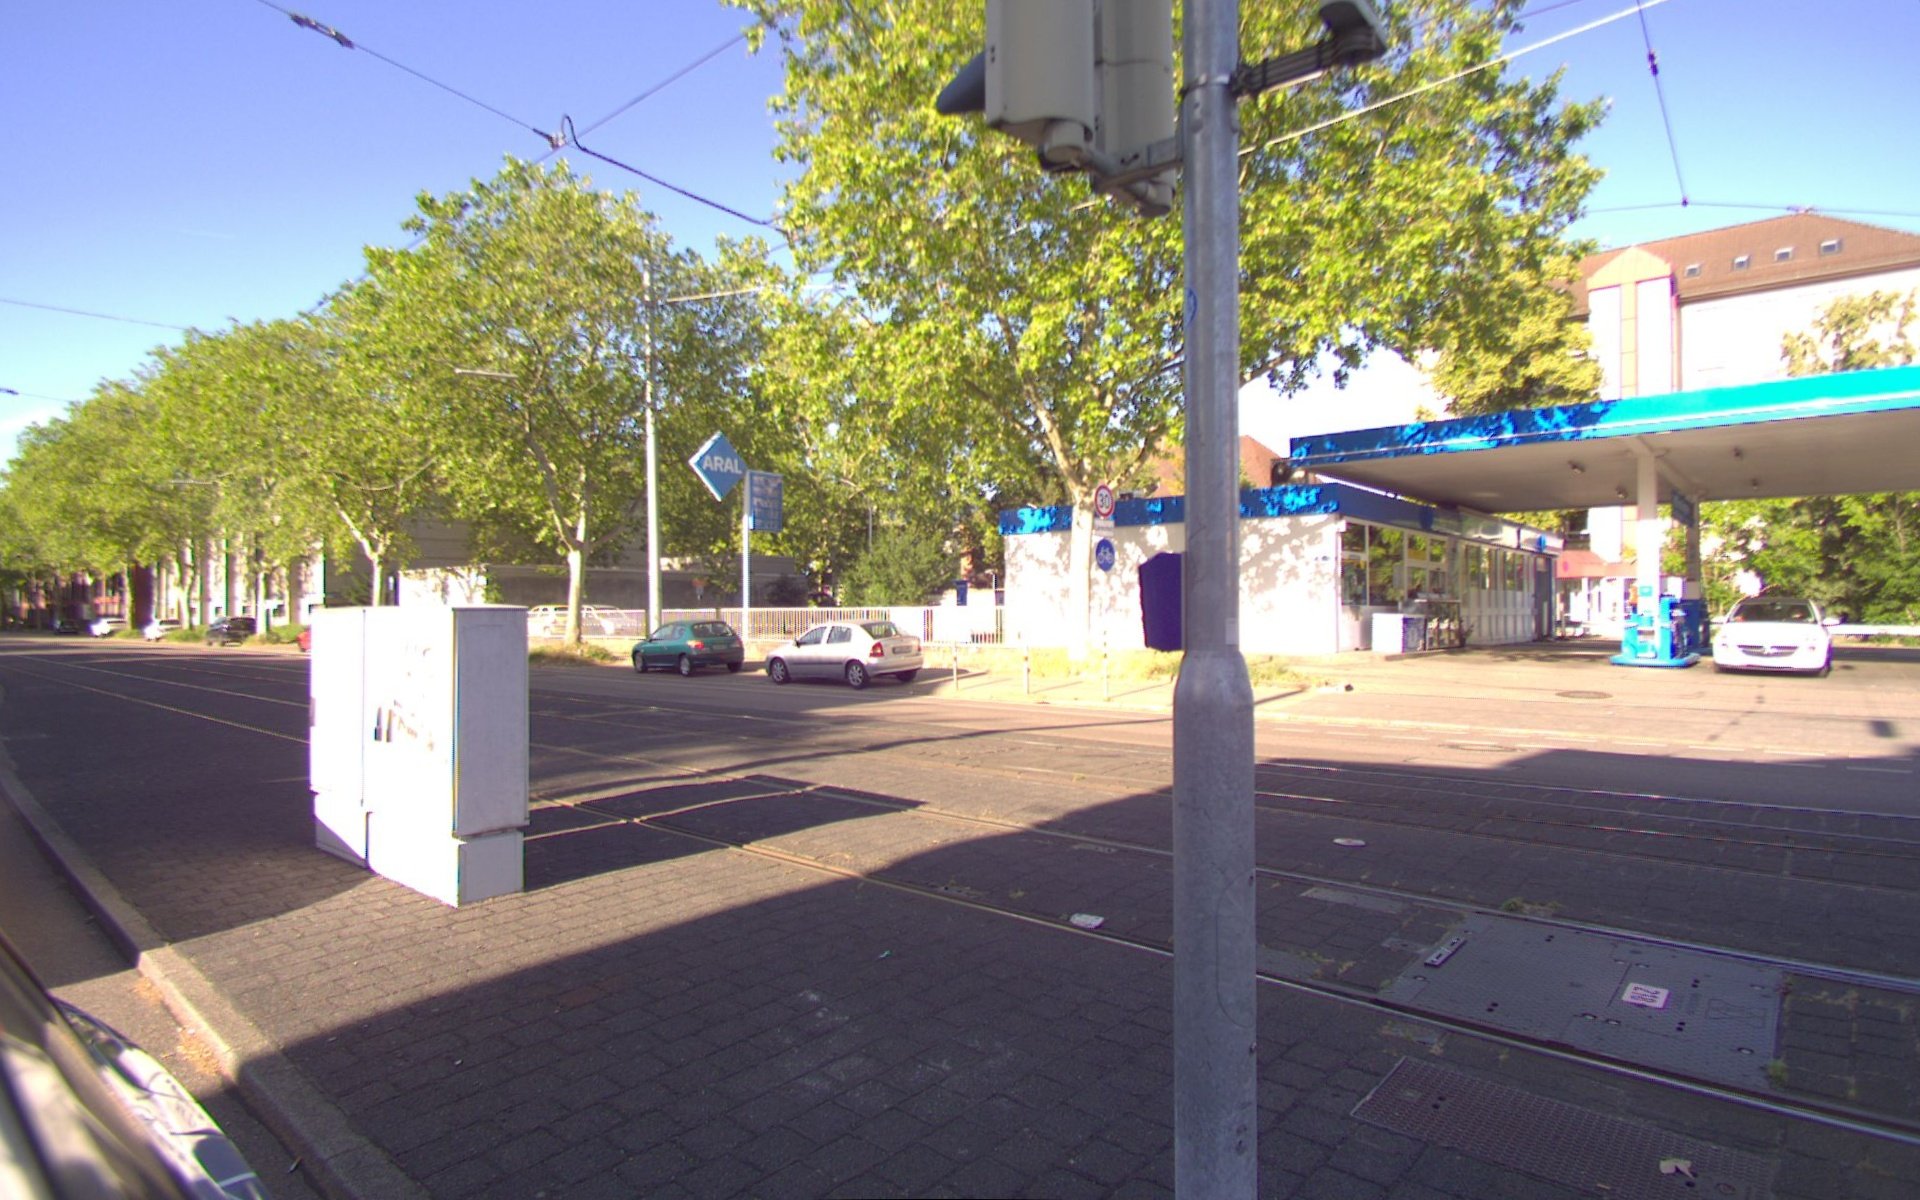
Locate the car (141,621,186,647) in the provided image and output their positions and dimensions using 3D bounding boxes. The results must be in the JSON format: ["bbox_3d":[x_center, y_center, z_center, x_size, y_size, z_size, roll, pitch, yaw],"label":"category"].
[{"bbox_3d":[-53.708,2.292,68.241,3.878,1.552,1.731,-1,2,43],"label":"car"}]

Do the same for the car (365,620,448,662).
[{"bbox_3d":[-21.858,1.570,39.912,3.769,1.455,1.701,-1,2,43],"label":"car"}]

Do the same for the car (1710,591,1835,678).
[{"bbox_3d":[15.880,0.601,19.708,1.743,1.446,3.882,-1,1,41],"label":"car"}]

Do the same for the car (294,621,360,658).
[{"bbox_3d":[-28.765,1.767,45.968,3.377,1.506,1.639,-1,2,43],"label":"car"}]

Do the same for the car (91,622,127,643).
[{"bbox_3d":[-66.795,2.509,79.407,3.731,1.471,1.639,-1,2,43],"label":"car"}]

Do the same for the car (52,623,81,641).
[{"bbox_3d":[-85.044,3.022,96.326,3.731,1.471,1.639,-1,2,43],"label":"car"}]

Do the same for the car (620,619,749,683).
[{"bbox_3d":[-7.380,1.297,26.957,3.606,1.455,1.598,-1,2,43],"label":"car"}]

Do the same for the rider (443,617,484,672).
[{"bbox_3d":[-15.392,1.352,31.365,1.104,1.660,0.717,-1,0,37],"label":"rider"}]

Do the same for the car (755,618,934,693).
[{"bbox_3d":[-2.635,1.188,22.596,3.987,1.376,1.666,-2,3,41],"label":"car"}]

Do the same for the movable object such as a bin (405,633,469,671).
[{"bbox_3d":[-16.632,1.636,32.179,1.832,1.111,1.164,-1,0,37],"label":"movable object such as a bin"}]

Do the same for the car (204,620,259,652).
[{"bbox_3d":[-40.713,1.988,56.519,3.878,1.603,1.731,-1,2,43],"label":"car"}]
